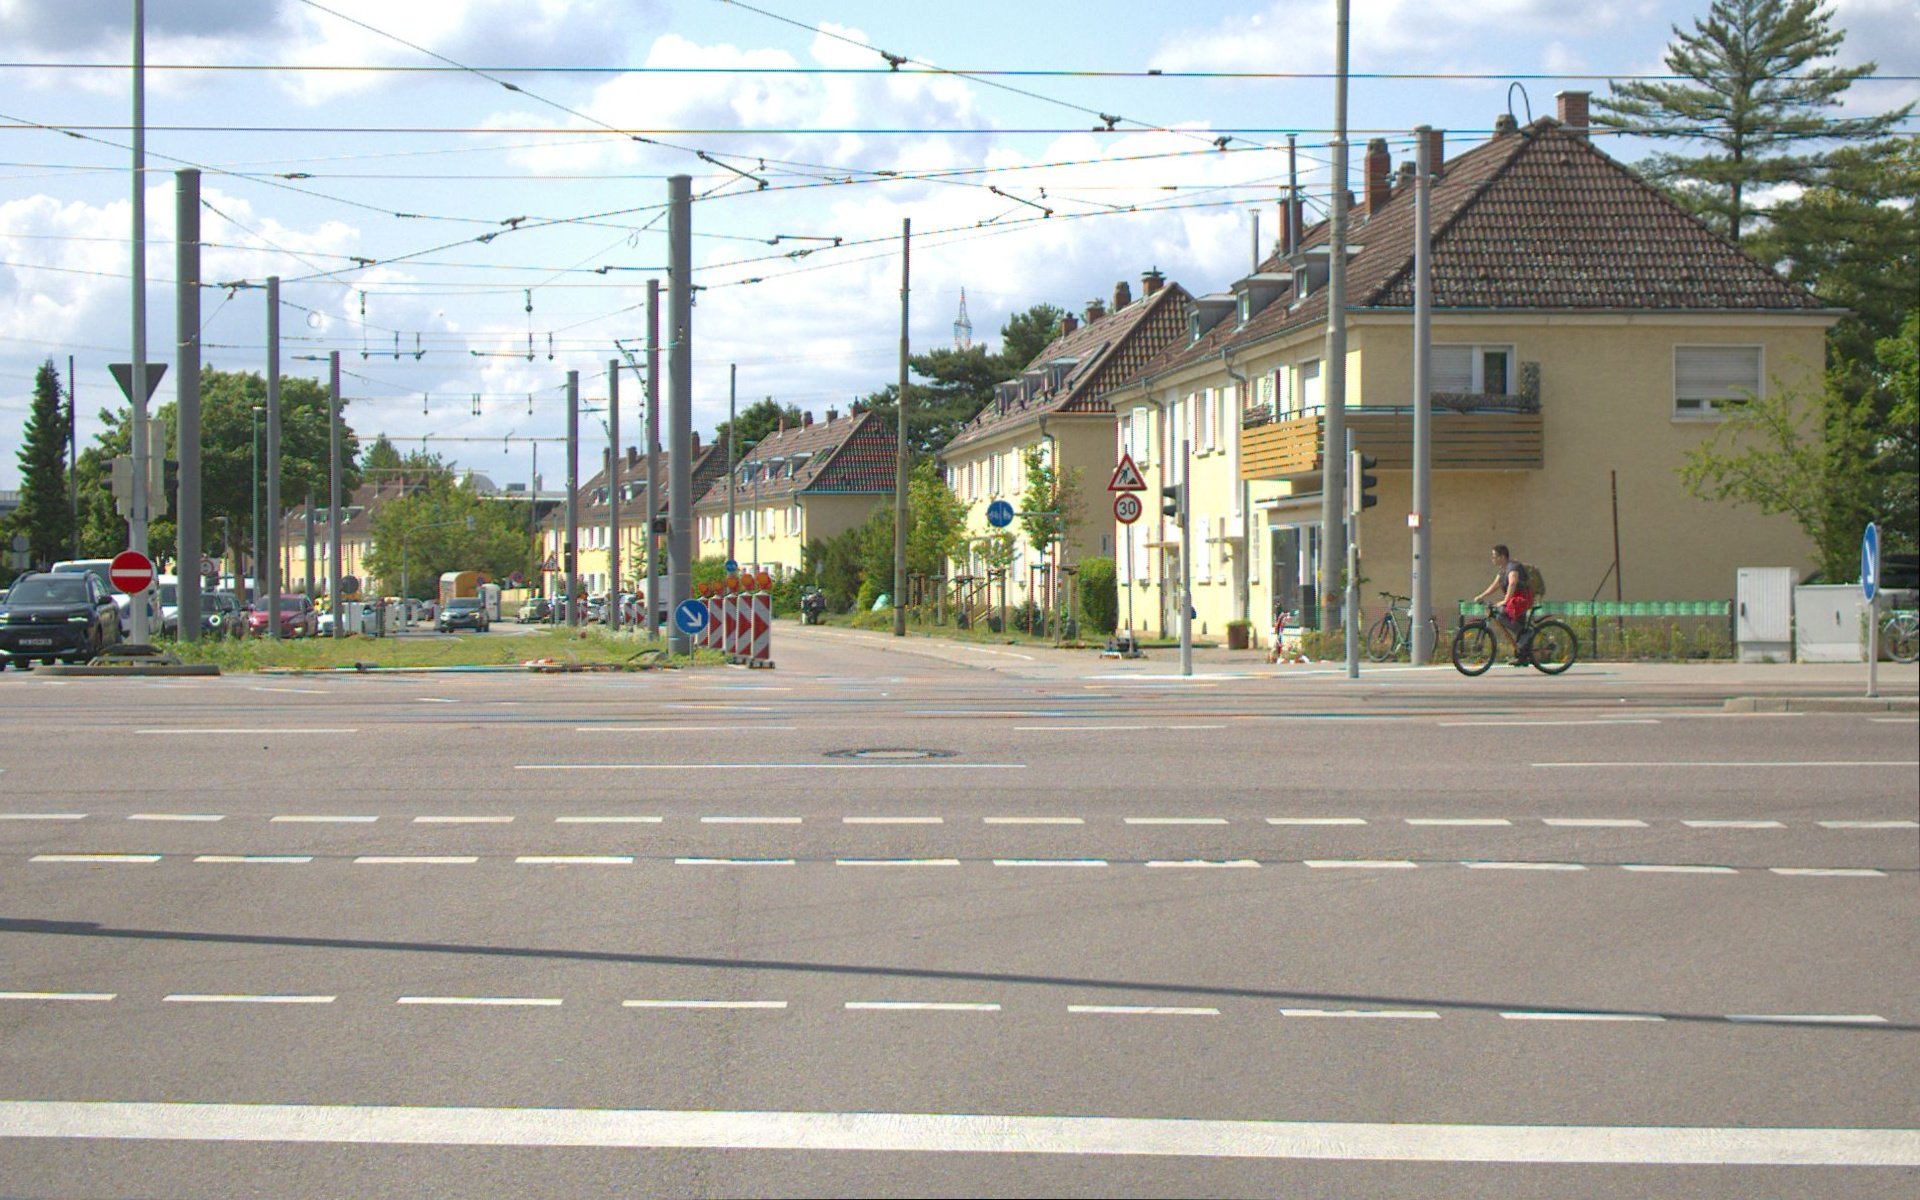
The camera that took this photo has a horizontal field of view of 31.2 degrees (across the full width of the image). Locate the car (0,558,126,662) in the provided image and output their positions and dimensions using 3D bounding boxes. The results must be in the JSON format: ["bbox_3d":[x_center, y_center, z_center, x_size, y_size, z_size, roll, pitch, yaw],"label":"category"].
[{"bbox_3d":[-15.644,0.141,59.565,1.786,1.715,4.442,0,1,-7],"label":"car"}]

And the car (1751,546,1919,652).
[{"bbox_3d":[14.424,0.008,55.404,1.821,1.615,4.001,0,-1,-10],"label":"car"}]

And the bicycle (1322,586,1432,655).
[{"bbox_3d":[6.752,0.334,55.768,0.593,1.093,2.277,0,0,-27],"label":"bicycle"}]

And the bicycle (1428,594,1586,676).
[{"bbox_3d":[7.554,0.477,47.490,2.026,1.098,0.715,0,0,-14],"label":"bicycle"}]

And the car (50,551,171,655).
[{"bbox_3d":[-16.255,0.052,65.981,1.814,1.915,4.749,0,0,-9],"label":"car"}]

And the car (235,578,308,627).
[{"bbox_3d":[-21.366,0.073,106.818,1.843,1.489,4.857,0,0,-7],"label":"car"}]

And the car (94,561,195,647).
[{"bbox_3d":[-17.482,0.079,73.853,1.732,1.776,4.406,-1,0,-9],"label":"car"}]

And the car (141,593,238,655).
[{"bbox_3d":[-18.076,0.543,80.801,1.914,1.414,4.001,0,0,-8],"label":"car"}]

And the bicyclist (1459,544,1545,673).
[{"bbox_3d":[7.507,0.117,47.637,0.957,1.769,0.720,0,0,-14],"label":"bicyclist"}]

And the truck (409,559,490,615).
[{"bbox_3d":[-32.319,-0.809,217.538,2.640,3.482,9.439,0,0,-24],"label":"truck"}]

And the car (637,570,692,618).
[{"bbox_3d":[-13.557,-0.289,157.283,2.065,2.142,4.879,0,0,-10],"label":"car"}]

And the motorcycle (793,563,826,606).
[{"bbox_3d":[-5.781,-0.594,132.075,1.066,1.630,2.084,0,0,-8],"label":"motorcycle"}]

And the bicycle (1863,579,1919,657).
[{"bbox_3d":[13.758,0.254,48.589,1.806,1.101,0.701,0,0,39],"label":"bicycle"}]

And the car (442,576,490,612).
[{"bbox_3d":[-22.090,-0.267,153.926,1.819,1.546,4.001,0,1,-4],"label":"car"}]

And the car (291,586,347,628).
[{"bbox_3d":[-24.227,0.268,130.097,1.843,1.556,4.188,0,0,-7],"label":"car"}]

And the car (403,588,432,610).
[{"bbox_3d":[-36.252,-0.077,229.520,1.257,1.421,2.666,0,0,-24],"label":"car"}]
